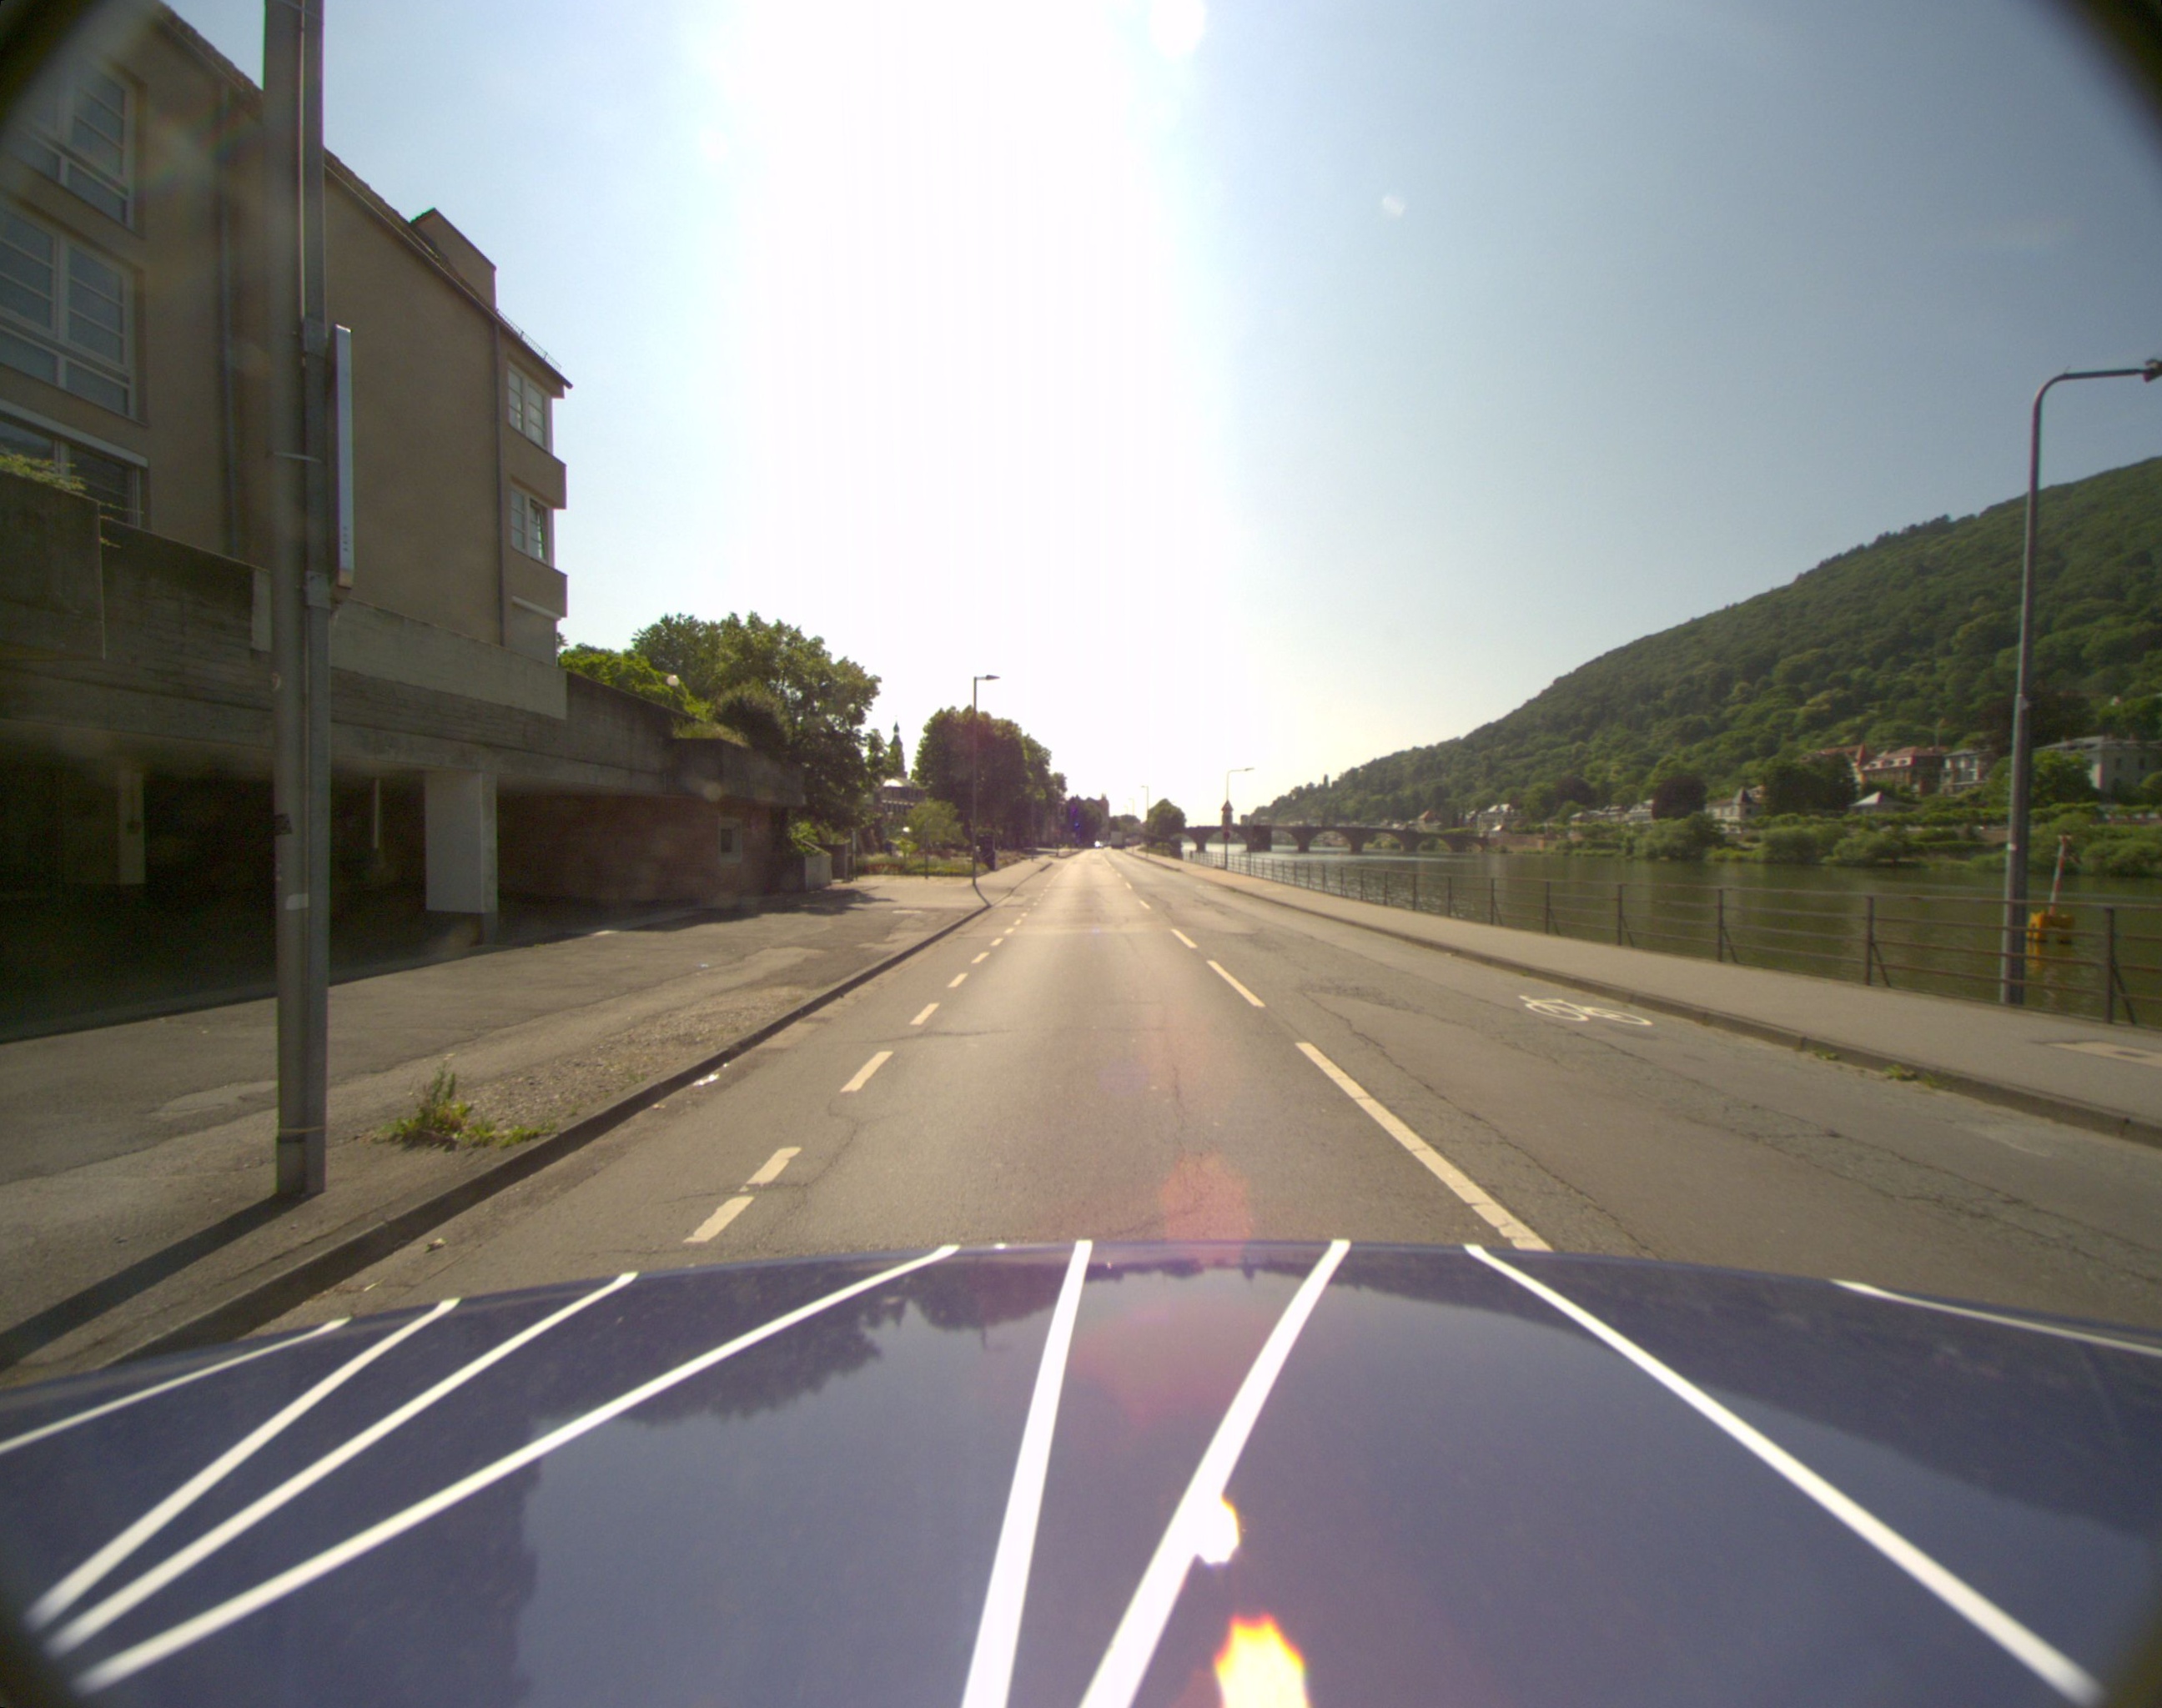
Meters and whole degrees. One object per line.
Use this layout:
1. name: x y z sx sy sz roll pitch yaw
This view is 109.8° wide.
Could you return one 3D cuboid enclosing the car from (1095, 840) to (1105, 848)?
1. car: 4.249 -2.176 165.951 1.998 1.433 4.001 2 0 3
